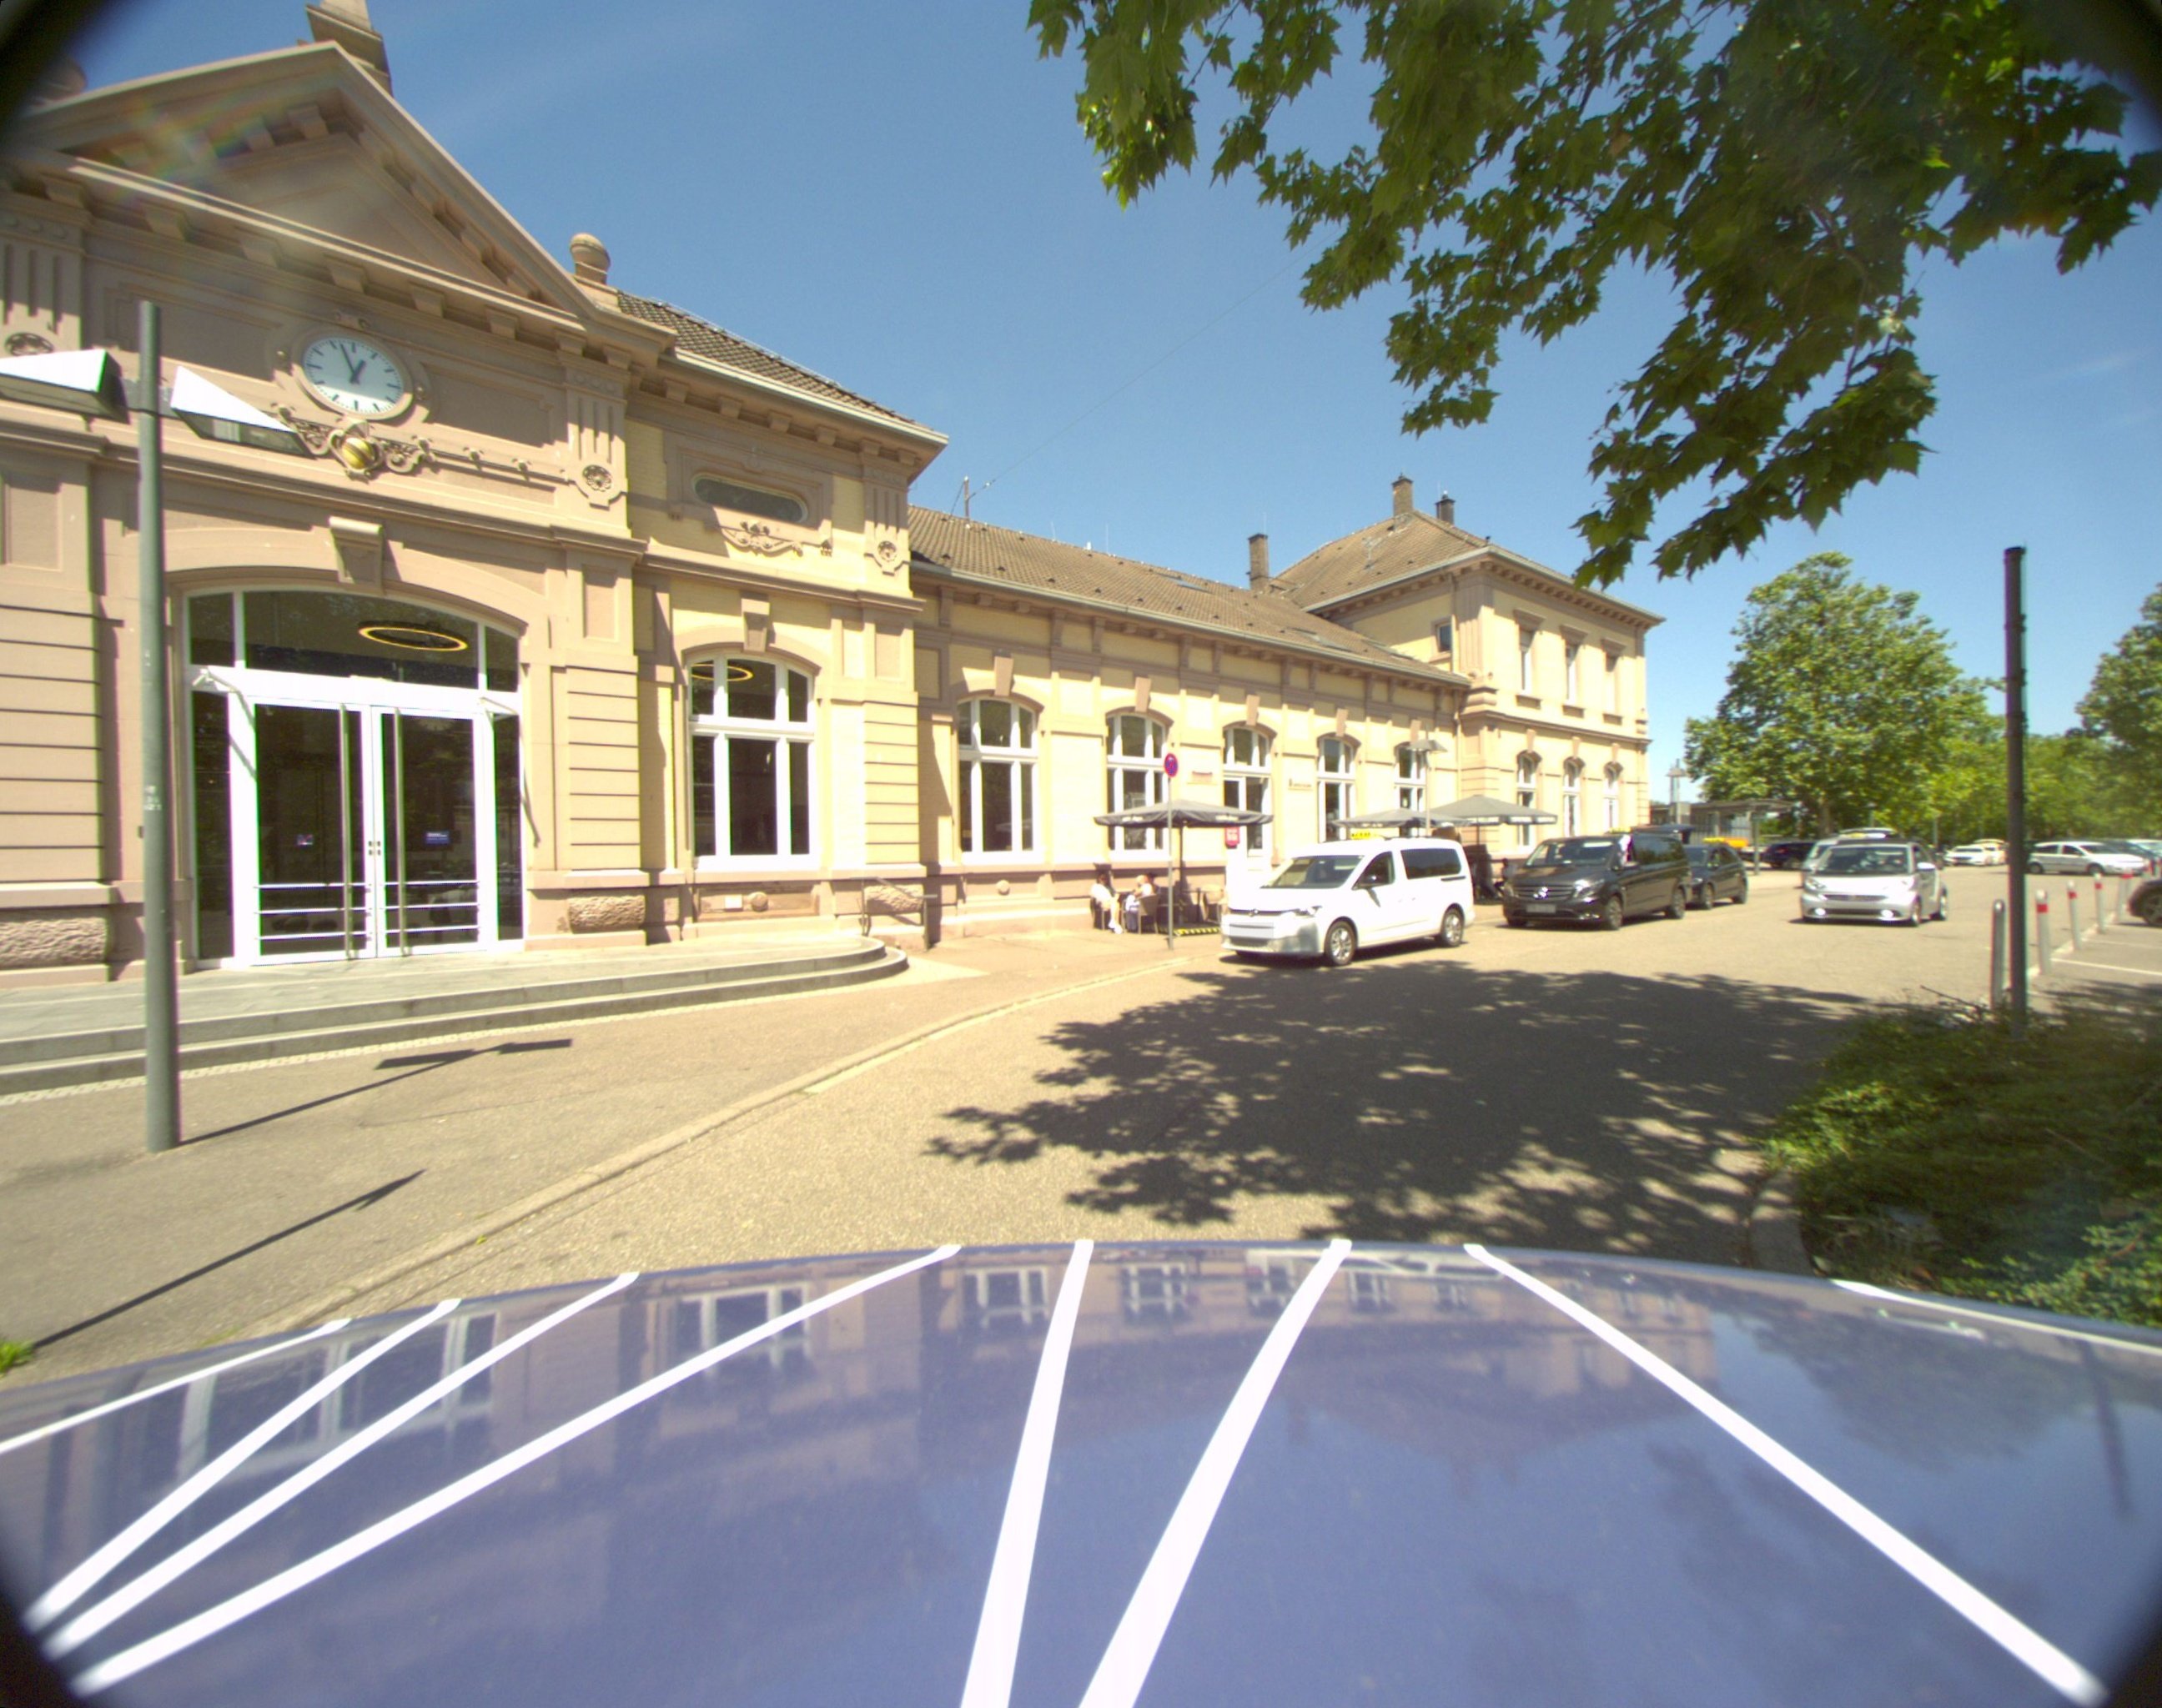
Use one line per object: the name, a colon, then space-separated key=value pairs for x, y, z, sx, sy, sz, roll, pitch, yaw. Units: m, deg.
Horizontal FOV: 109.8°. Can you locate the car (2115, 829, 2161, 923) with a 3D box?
car: x=18.567 y=0.393 z=10.883 sx=1.798 sy=1.534 sz=4.532 roll=-2 pitch=1 yaw=10

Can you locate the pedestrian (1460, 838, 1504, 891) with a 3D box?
pedestrian: x=12.001 y=0.304 z=22.744 sx=0.853 sy=1.535 sz=0.879 roll=-1 pitch=2 yaw=-38

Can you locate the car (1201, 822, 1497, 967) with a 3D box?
car: x=4.384 y=0.539 z=12.000 sx=5.149 sy=1.854 sz=1.810 roll=0 pitch=-1 yaw=-36

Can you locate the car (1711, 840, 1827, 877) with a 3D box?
car: x=42.576 y=0.339 z=47.158 sx=2.055 sy=2.107 sz=4.953 roll=-1 pitch=-1 yaw=-35

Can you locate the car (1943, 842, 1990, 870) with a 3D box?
car: x=63.913 y=0.120 z=54.791 sx=4.974 sy=1.829 sz=2.046 roll=-1 pitch=-1 yaw=-39

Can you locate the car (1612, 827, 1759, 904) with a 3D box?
car: x=16.188 y=0.296 z=20.269 sx=4.850 sy=1.829 sz=2.075 roll=0 pitch=-1 yaw=-39

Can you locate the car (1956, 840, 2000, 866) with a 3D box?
car: x=69.326 y=-0.097 z=58.690 sx=4.974 sy=1.829 sz=2.046 roll=-1 pitch=-1 yaw=-39

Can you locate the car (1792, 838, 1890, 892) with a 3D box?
car: x=28.207 y=0.384 z=28.154 sx=5.328 sy=1.829 sz=1.999 roll=-1 pitch=-1 yaw=-39

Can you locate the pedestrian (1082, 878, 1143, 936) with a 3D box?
pedestrian: x=0.629 y=1.051 z=15.367 sx=0.853 sy=1.074 sz=0.879 roll=-1 pitch=2 yaw=-38

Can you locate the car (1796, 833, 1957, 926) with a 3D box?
car: x=15.094 y=0.413 z=14.397 sx=3.112 sy=1.584 sz=1.598 roll=-1 pitch=1 yaw=-34

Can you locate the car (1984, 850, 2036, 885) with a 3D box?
car: x=46.274 y=0.643 z=37.845 sx=3.112 sy=1.660 sz=1.453 roll=-1 pitch=1 yaw=-36

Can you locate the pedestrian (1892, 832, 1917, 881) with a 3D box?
pedestrian: x=34.021 y=0.098 z=31.385 sx=0.618 sy=1.978 sz=0.627 roll=-1 pitch=-1 yaw=-39

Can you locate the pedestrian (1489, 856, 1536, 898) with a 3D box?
pedestrian: x=12.492 y=0.662 z=22.006 sx=0.883 sy=1.158 sz=0.849 roll=-1 pitch=2 yaw=-35

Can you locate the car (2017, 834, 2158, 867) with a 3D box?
car: x=44.766 y=-0.146 z=33.927 sx=1.801 sy=1.395 sz=3.515 roll=0 pitch=0 yaw=6

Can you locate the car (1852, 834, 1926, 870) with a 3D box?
car: x=44.314 y=-0.126 z=41.637 sx=4.254 sy=1.778 sz=1.996 roll=-2 pitch=-1 yaw=-33

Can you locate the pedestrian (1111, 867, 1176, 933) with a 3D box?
pedestrian: x=1.200 y=0.861 z=14.614 sx=0.853 sy=1.155 sz=0.879 roll=-1 pitch=2 yaw=-38

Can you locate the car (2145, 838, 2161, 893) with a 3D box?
car: x=32.228 y=0.374 z=20.492 sx=1.798 sy=1.596 sz=4.066 roll=-2 pitch=1 yaw=11

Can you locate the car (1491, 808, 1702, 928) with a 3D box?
car: x=11.039 y=0.269 z=16.059 sx=5.837 sy=2.111 sz=2.088 roll=0 pitch=-1 yaw=-39
